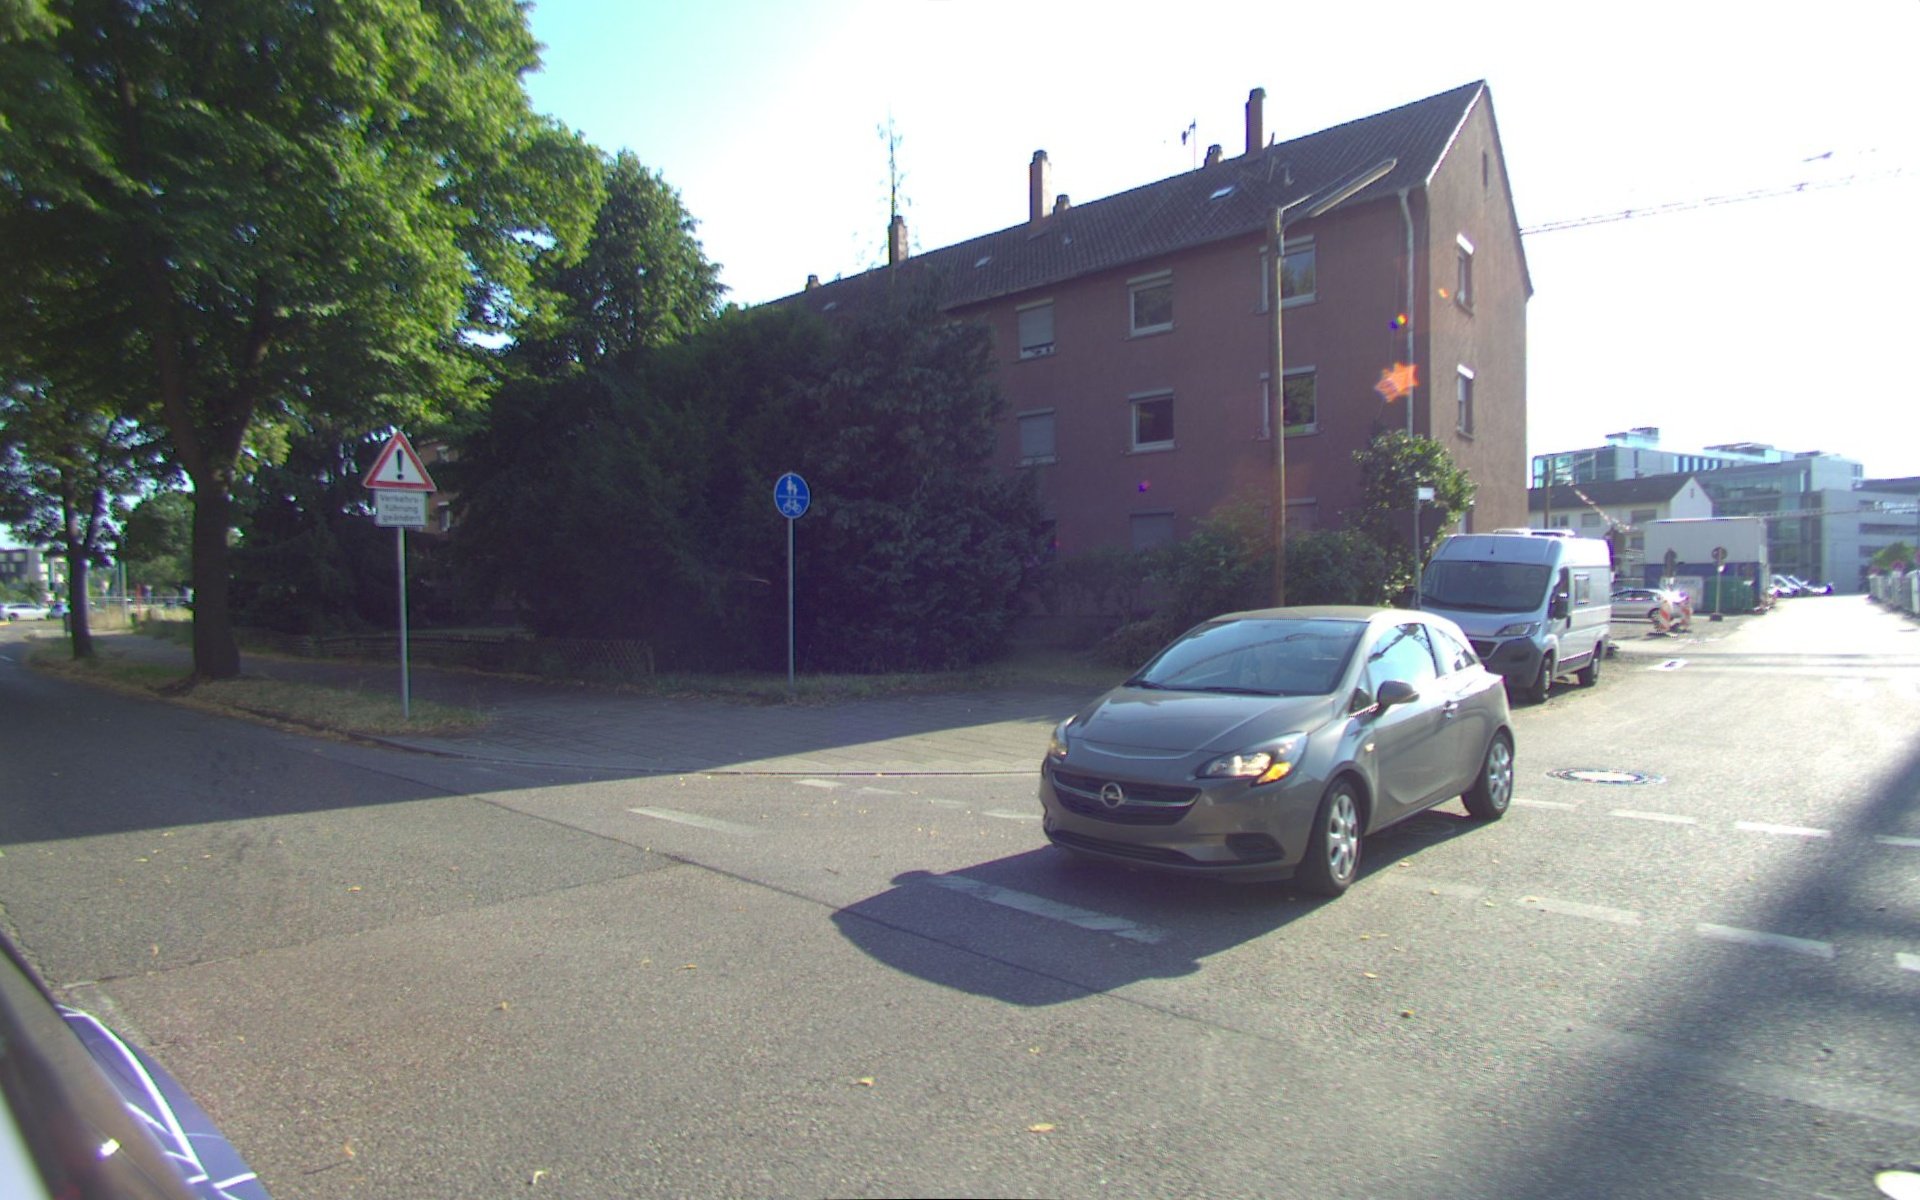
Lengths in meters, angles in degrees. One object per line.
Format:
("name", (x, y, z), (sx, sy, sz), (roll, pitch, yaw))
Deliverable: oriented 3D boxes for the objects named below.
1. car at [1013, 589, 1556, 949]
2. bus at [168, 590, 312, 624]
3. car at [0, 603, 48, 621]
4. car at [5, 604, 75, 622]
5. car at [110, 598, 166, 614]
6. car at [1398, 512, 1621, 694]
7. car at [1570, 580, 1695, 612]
("car", (2.224, 0.718, 6.301), (3.800, 1.484, 1.652), (-2, 1, -45))
("bus", (-71.415, 0.586, 100.943), (2.650, 3.085, 12.083), (0, 1, 23))
("car", (-81.477, 1.036, 87.089), (1.989, 1.541, 3.966), (0, 0, 25))
("car", (-78.474, 1.086, 86.356), (1.984, 1.541, 3.976), (0, 0, 18))
("car", (-80.947, 0.574, 99.733), (1.764, 1.541, 3.976), (0, 0, 18))
("car", (9.111, 0.067, 16.521), (2.168, 2.487, 5.252), (0, -1, 40))
("car", (29.826, -0.164, 44.934), (4.363, 1.352, 1.971), (0, 1, 44))
